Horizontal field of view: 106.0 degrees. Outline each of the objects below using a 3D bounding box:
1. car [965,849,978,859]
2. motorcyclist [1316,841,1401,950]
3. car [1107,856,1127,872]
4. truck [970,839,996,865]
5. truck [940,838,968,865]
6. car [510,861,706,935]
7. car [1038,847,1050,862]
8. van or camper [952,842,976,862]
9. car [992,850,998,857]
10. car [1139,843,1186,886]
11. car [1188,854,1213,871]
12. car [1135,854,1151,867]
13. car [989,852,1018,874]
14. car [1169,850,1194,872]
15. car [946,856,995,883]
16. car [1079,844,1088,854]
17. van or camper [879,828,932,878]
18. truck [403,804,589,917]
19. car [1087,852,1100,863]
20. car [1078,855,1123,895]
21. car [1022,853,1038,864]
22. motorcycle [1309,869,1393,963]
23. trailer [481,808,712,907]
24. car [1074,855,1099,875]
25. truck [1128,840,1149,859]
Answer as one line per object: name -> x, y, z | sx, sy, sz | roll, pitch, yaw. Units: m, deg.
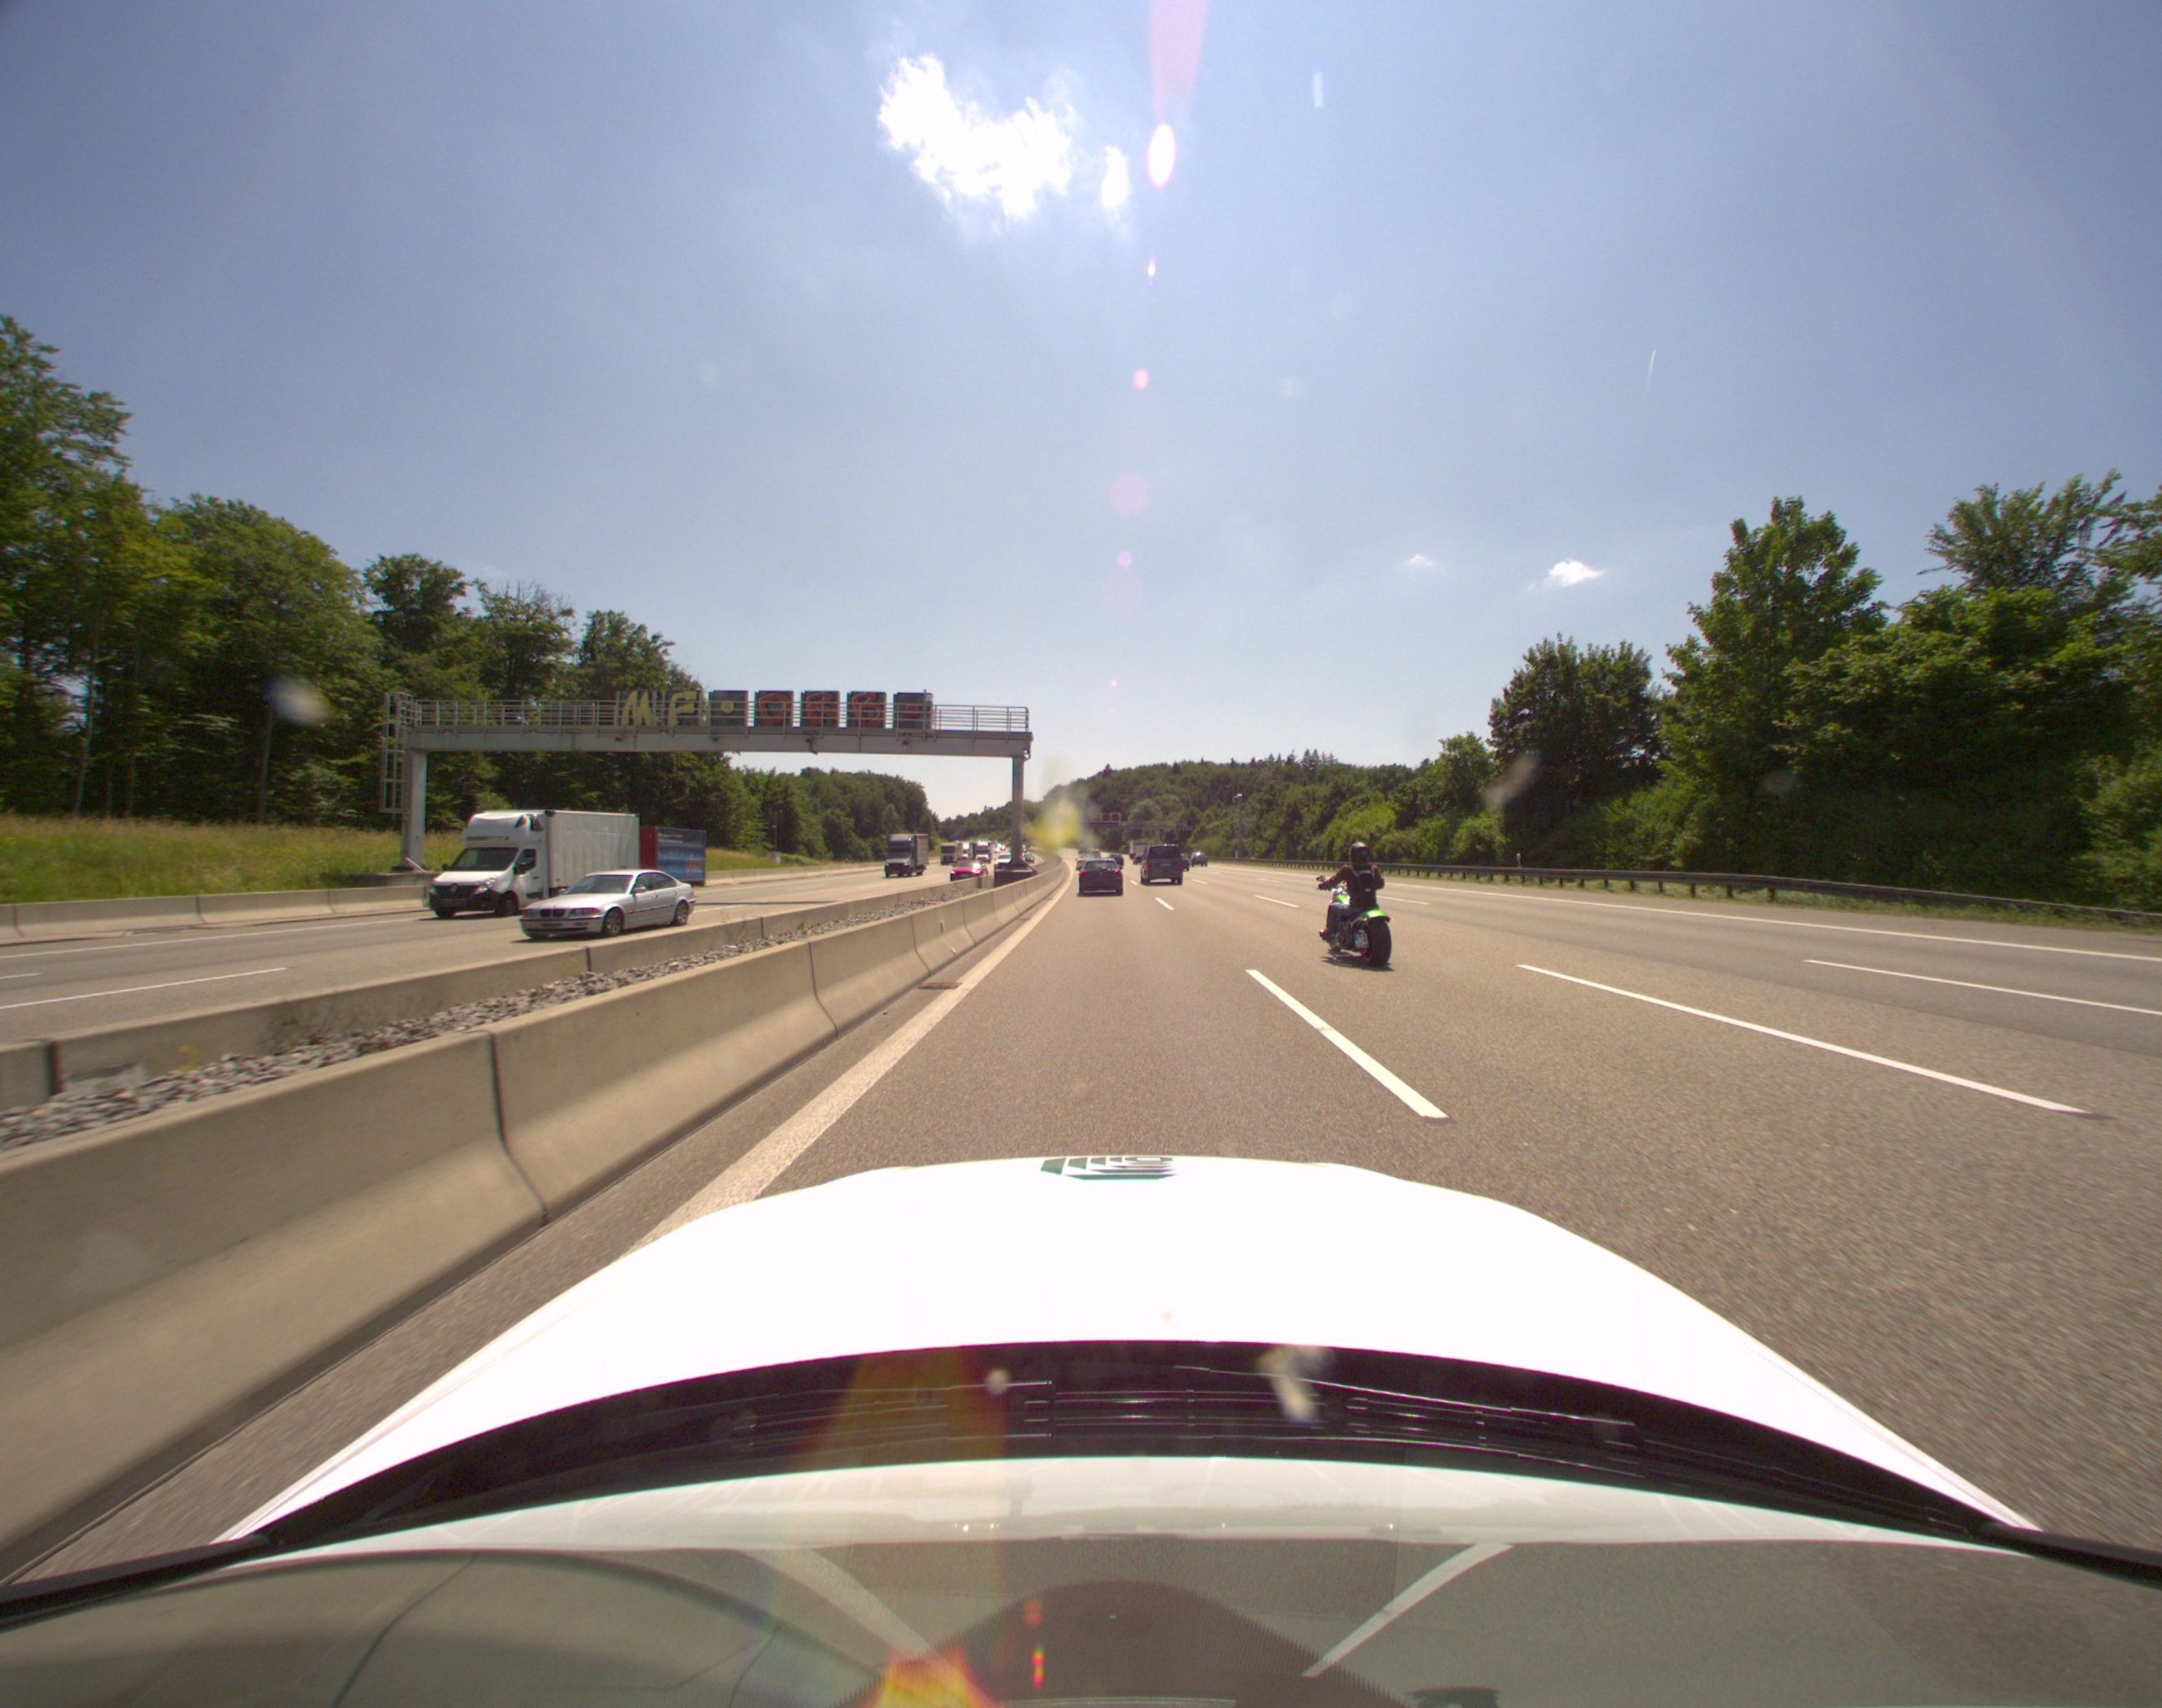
car -> -21.449, 0.031, 160.183 | 1.987, 2.014, 3.999 | 0, -1, 0
motorcyclist -> 3.842, 0.559, 11.354 | 0.849, 1.427, 1.024 | -1, -1, 4
car -> 4.053, 1.148, 93.271 | 1.988, 1.728, 4.146 | -1, -1, -2
truck -> -15.094, -0.324, 125.708 | 2.923, 3.804, 9.340 | -1, 0, -1
truck -> -18.613, -0.303, 119.906 | 2.861, 3.697, 9.236 | 0, -1, -1
car -> -10.320, 0.892, 18.221 | 1.694, 1.401, 4.353 | -1, 0, 2
car -> -6.643, 0.156, 147.341 | 1.987, 2.575, 4.168 | 0, -1, 0
van or camper -> -19.186, -0.267, 134.030 | 2.756, 3.125, 8.092 | 0, -1, 0
car -> -26.266, -0.171, 248.859 | 1.991, 2.013, 3.991 | -1, 0, -6
car -> 4.132, 0.508, 42.063 | 1.956, 2.033, 5.083 | -1, 0, 1
car -> 12.189, 0.863, 83.487 | 1.987, 1.728, 4.000 | -1, -1, 1
car -> 7.563, 0.795, 100.152 | 1.659, 1.408, 4.904 | -1, 1, 1
car -> -6.620, 0.759, 70.288 | 1.986, 1.728, 4.001 | -1, 0, 2
car -> 8.351, 0.551, 67.869 | 1.841, 1.728, 4.005 | -1, 0, 4
car -> -6.424, 0.889, 47.963 | 2.040, 1.442, 5.222 | -1, 0, 1
car -> 0.589, -1.246, 208.769 | 2.257, 2.371, 4.702 | -1, 0, 0
van or camper -> -13.786, -0.064, 64.516 | 2.422, 3.678, 7.756 | -1, 0, 0
truck -> -17.835, 0.201, 25.185 | 2.479, 3.167, 4.402 | 0, -1, 0
car -> 2.114, 0.543, 139.378 | 2.096, 1.744, 4.687 | -1, 1, 0
car -> 0.775, 0.788, 32.528 | 1.702, 1.433, 4.001 | 0, 1, 1
car -> -7.433, 0.598, 119.337 | 1.986, 1.590, 4.845 | -1, 0, 1
motorcycle -> 3.817, 0.828, 11.714 | 0.533, 1.135, 2.439 | -1, 0, 4
trailer -> -17.791, 0.217, 31.155 | 2.467, 3.154, 10.478 | 0, -1, 0
car -> 0.556, 1.065, 77.503 | 2.003, 1.846, 4.004 | -1, -2, 4
truck -> 9.861, -0.784, 140.222 | 2.975, 3.166, 7.575 | -1, 1, 0
